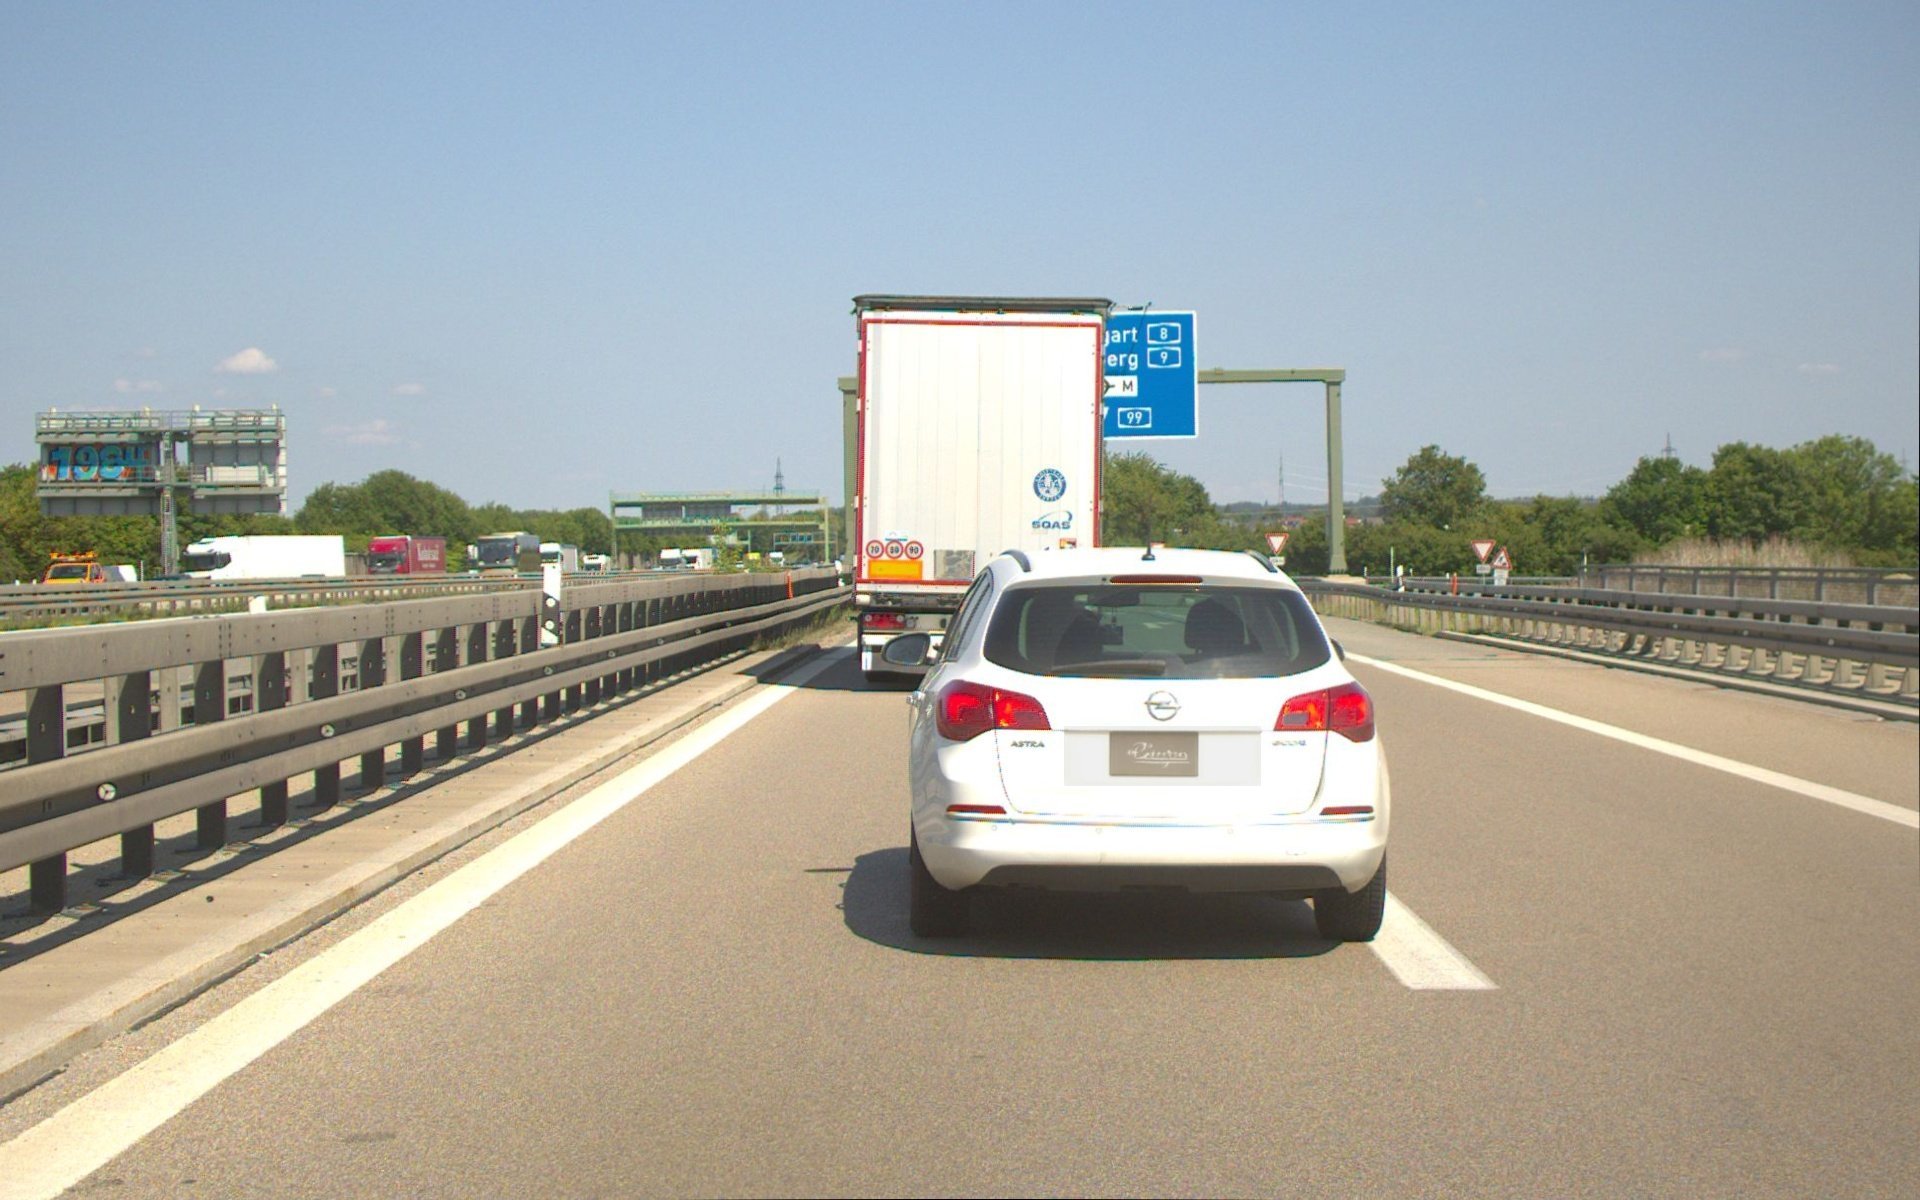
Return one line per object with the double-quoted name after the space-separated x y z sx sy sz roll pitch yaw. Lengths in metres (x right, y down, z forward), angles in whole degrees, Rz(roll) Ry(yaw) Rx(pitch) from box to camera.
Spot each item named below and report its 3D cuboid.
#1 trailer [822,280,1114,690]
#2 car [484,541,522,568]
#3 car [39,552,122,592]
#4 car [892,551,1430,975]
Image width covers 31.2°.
0.156 -1.206 40.619 2.912 4.131 11.257 1 0 1 "trailer"
-28.250 -2.842 212.703 1.788 1.634 4.000 0 1 0 "car"
-34.743 -1.103 135.965 1.838 1.512 5.298 0 1 1 "car"
0.723 0.535 14.139 1.854 1.438 4.372 1 1 1 "car"
